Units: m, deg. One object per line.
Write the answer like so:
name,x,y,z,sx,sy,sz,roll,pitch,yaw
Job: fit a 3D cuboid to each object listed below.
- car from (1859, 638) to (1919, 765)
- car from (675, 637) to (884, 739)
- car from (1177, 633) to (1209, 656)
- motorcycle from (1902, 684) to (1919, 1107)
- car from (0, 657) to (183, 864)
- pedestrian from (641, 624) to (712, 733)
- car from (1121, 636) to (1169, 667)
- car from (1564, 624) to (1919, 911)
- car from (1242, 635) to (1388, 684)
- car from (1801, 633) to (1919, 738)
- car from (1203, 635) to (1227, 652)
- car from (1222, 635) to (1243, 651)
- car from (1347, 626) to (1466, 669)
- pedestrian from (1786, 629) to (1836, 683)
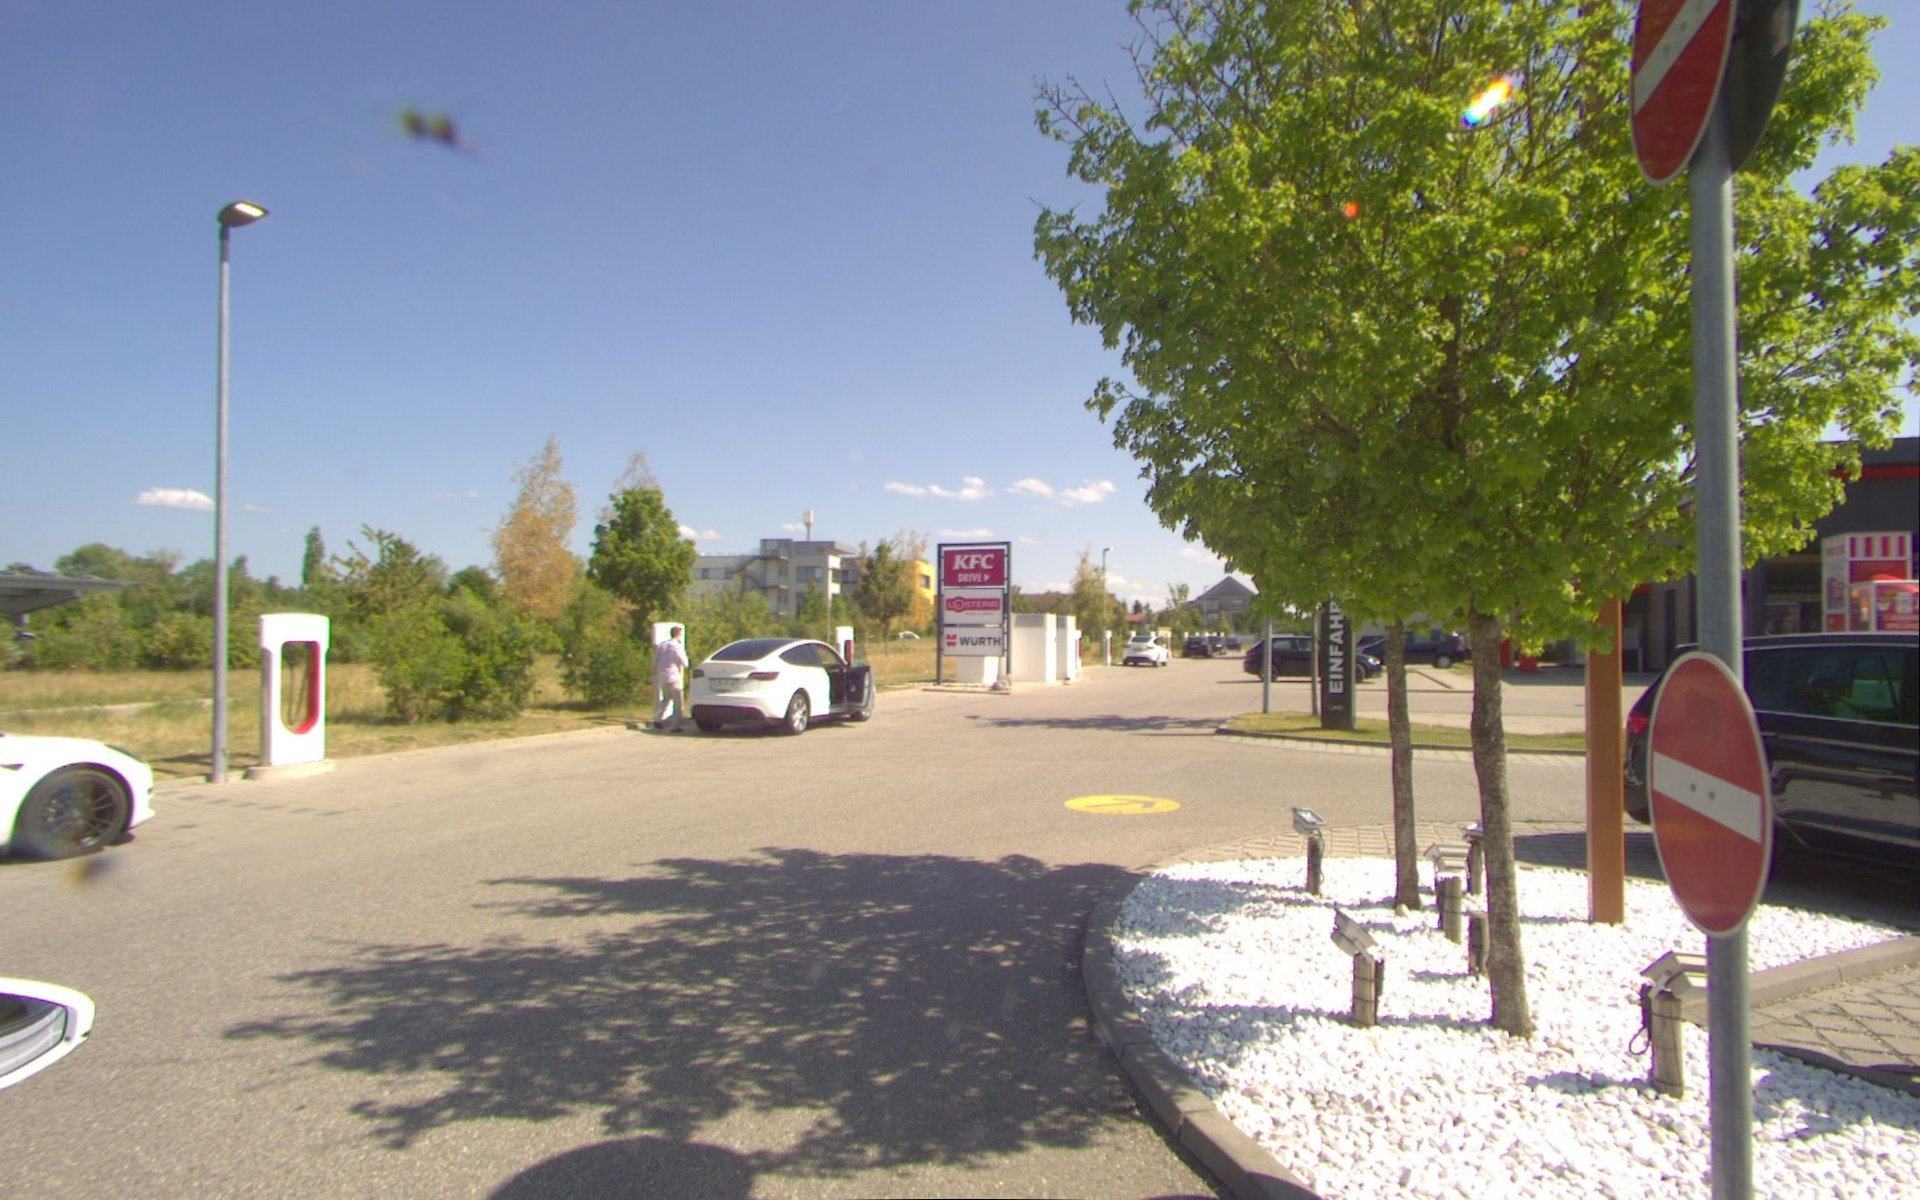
car,12.916,1.197,12.069,4.124,1.444,1.836,1,-2,-28
car,-3.136,1.495,18.415,1.837,1.620,4.482,-1,-2,19
car,17.369,3.295,74.603,1.917,1.588,3.994,0,-2,19
motorcycle,3.859,0.911,2.291,1.055,1.267,2.242,3,-1,-27
car,-7.882,1.108,6.305,1.791,1.395,4.440,0,-2,21
pedestrian,-4.925,1.334,17.435,0.724,1.823,1.034,0,-1,17
car,10.095,2.757,54.462,1.917,1.588,3.993,0,-2,21
car,6.111,0.925,5.773,1.866,1.556,4.178,1,-3,-24
car,11.048,1.840,31.418,4.134,1.459,1.698,0,-1,11
car,15.617,1.310,15.173,1.728,1.596,4.075,1,-2,-23
car,21.784,3.701,85.507,1.717,1.405,3.994,0,-2,19
car,27.652,4.335,101.544,1.717,1.588,3.994,0,-2,19
car,18.383,1.930,41.427,4.304,1.707,1.640,0,-1,16
pedestrian,23.270,1.524,27.385,0.786,1.453,0.771,-1,-1,18
